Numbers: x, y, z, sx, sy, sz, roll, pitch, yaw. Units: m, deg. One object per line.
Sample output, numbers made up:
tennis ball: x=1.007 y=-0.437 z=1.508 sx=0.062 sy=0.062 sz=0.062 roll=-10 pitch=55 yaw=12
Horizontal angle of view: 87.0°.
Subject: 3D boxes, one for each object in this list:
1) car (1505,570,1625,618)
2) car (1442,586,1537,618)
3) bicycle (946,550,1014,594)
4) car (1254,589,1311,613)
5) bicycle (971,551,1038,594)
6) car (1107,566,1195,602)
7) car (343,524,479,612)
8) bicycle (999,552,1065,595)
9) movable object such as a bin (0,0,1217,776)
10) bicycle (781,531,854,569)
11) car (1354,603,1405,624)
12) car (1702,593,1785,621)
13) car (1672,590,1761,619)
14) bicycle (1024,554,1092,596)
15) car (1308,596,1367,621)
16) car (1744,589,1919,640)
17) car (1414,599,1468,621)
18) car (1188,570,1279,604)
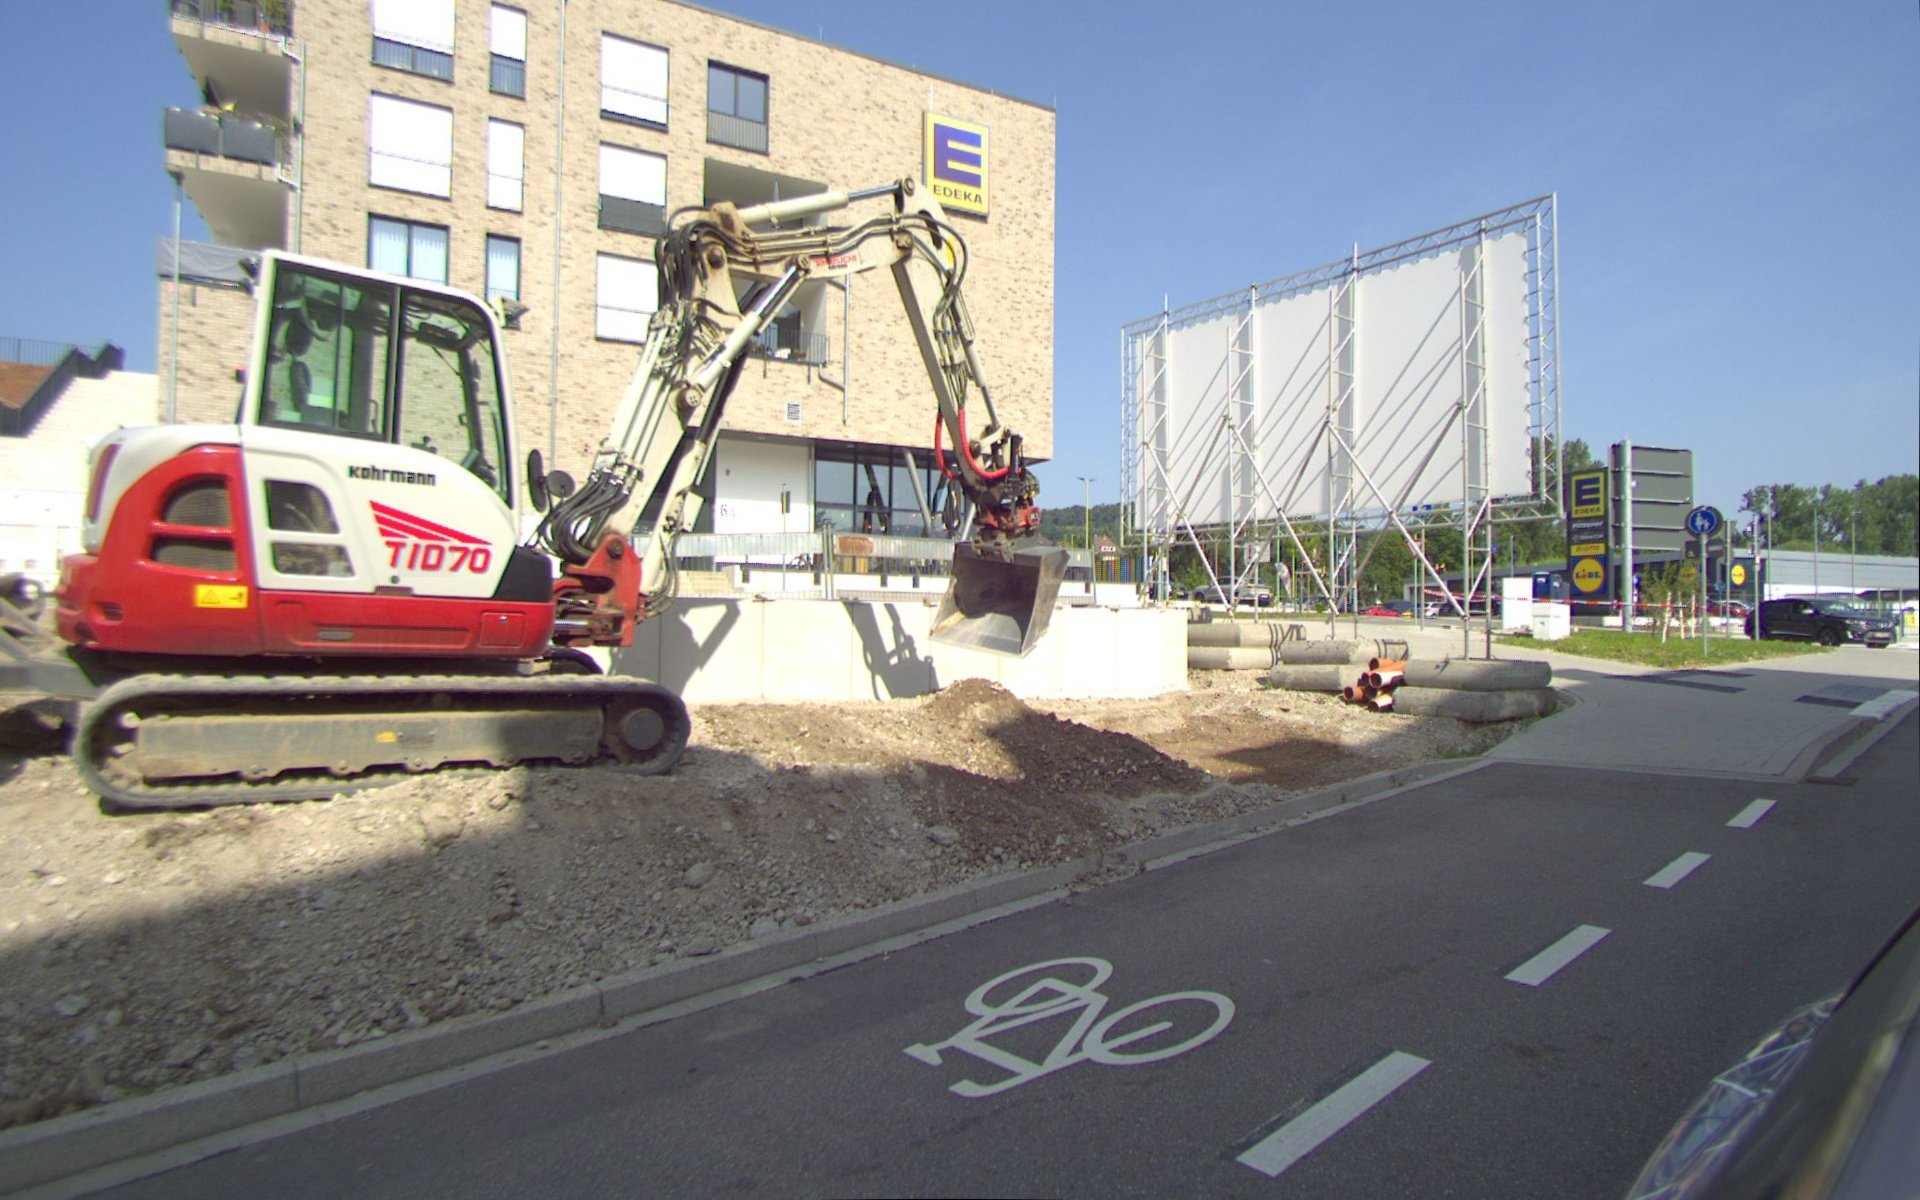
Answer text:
car: x=35.999 y=-0.292 z=60.442 sx=2.017 sy=2.415 sz=6.100 roll=1 pitch=-4 yaw=-22
car: x=30.675 y=0.166 z=58.784 sx=1.882 sy=1.550 sz=4.867 roll=1 pitch=-4 yaw=-20
bicycle: x=0.590 y=-0.837 z=31.037 sx=0.841 sy=1.159 sz=2.241 roll=3 pitch=-5 yaw=-38
car: x=22.240 y=0.096 z=69.757 sx=3.556 sy=1.464 sz=1.527 roll=1 pitch=-4 yaw=-24
bicycle: x=1.369 y=-0.834 z=31.581 sx=0.841 sy=1.159 sz=2.241 roll=3 pitch=-5 yaw=-38
car: x=9.437 y=-0.818 z=50.384 sx=1.820 sy=1.575 sz=4.467 roll=4 pitch=-1 yaw=-28
car: x=-10.514 y=-0.573 z=19.280 sx=1.567 sy=1.514 sz=3.410 roll=0 pitch=1 yaw=-41
bicycle: x=2.257 y=-0.809 z=31.988 sx=0.752 sy=1.159 sz=2.241 roll=3 pitch=-5 yaw=-38
movable object such as a bin: x=-1.759 y=-1.221 z=6.576 sx=7.654 sy=3.905 sz=2.300 roll=1 pitch=-4 yaw=-38
bicycle: x=-4.555 y=-1.590 z=32.326 sx=2.198 sy=1.059 sz=0.694 roll=2 pitch=-4 yaw=-27
car: x=34.084 y=1.115 z=82.190 sx=3.708 sy=1.595 sz=1.765 roll=1 pitch=-4 yaw=-25
car: x=50.614 y=0.479 z=65.424 sx=1.674 sy=1.595 sz=3.991 roll=3 pitch=-5 yaw=-41
car: x=46.490 y=0.311 z=62.267 sx=1.747 sy=1.595 sz=4.016 roll=3 pitch=-5 yaw=-39
bicycle: x=3.128 y=-0.769 z=32.506 sx=0.841 sy=1.159 sz=2.241 roll=3 pitch=-5 yaw=-38
car: x=26.665 y=0.633 z=71.509 sx=3.708 sy=1.595 sz=1.765 roll=1 pitch=-4 yaw=-25
car: x=27.401 y=0.503 z=32.002 sx=1.611 sy=1.411 sz=4.231 roll=0 pitch=-3 yaw=-5
car: x=36.705 y=0.774 z=77.257 sx=3.708 sy=1.595 sz=1.668 roll=1 pitch=-4 yaw=-25
car: x=14.291 y=-0.694 z=53.150 sx=1.819 sy=1.575 sz=4.830 roll=4 pitch=0 yaw=-25
